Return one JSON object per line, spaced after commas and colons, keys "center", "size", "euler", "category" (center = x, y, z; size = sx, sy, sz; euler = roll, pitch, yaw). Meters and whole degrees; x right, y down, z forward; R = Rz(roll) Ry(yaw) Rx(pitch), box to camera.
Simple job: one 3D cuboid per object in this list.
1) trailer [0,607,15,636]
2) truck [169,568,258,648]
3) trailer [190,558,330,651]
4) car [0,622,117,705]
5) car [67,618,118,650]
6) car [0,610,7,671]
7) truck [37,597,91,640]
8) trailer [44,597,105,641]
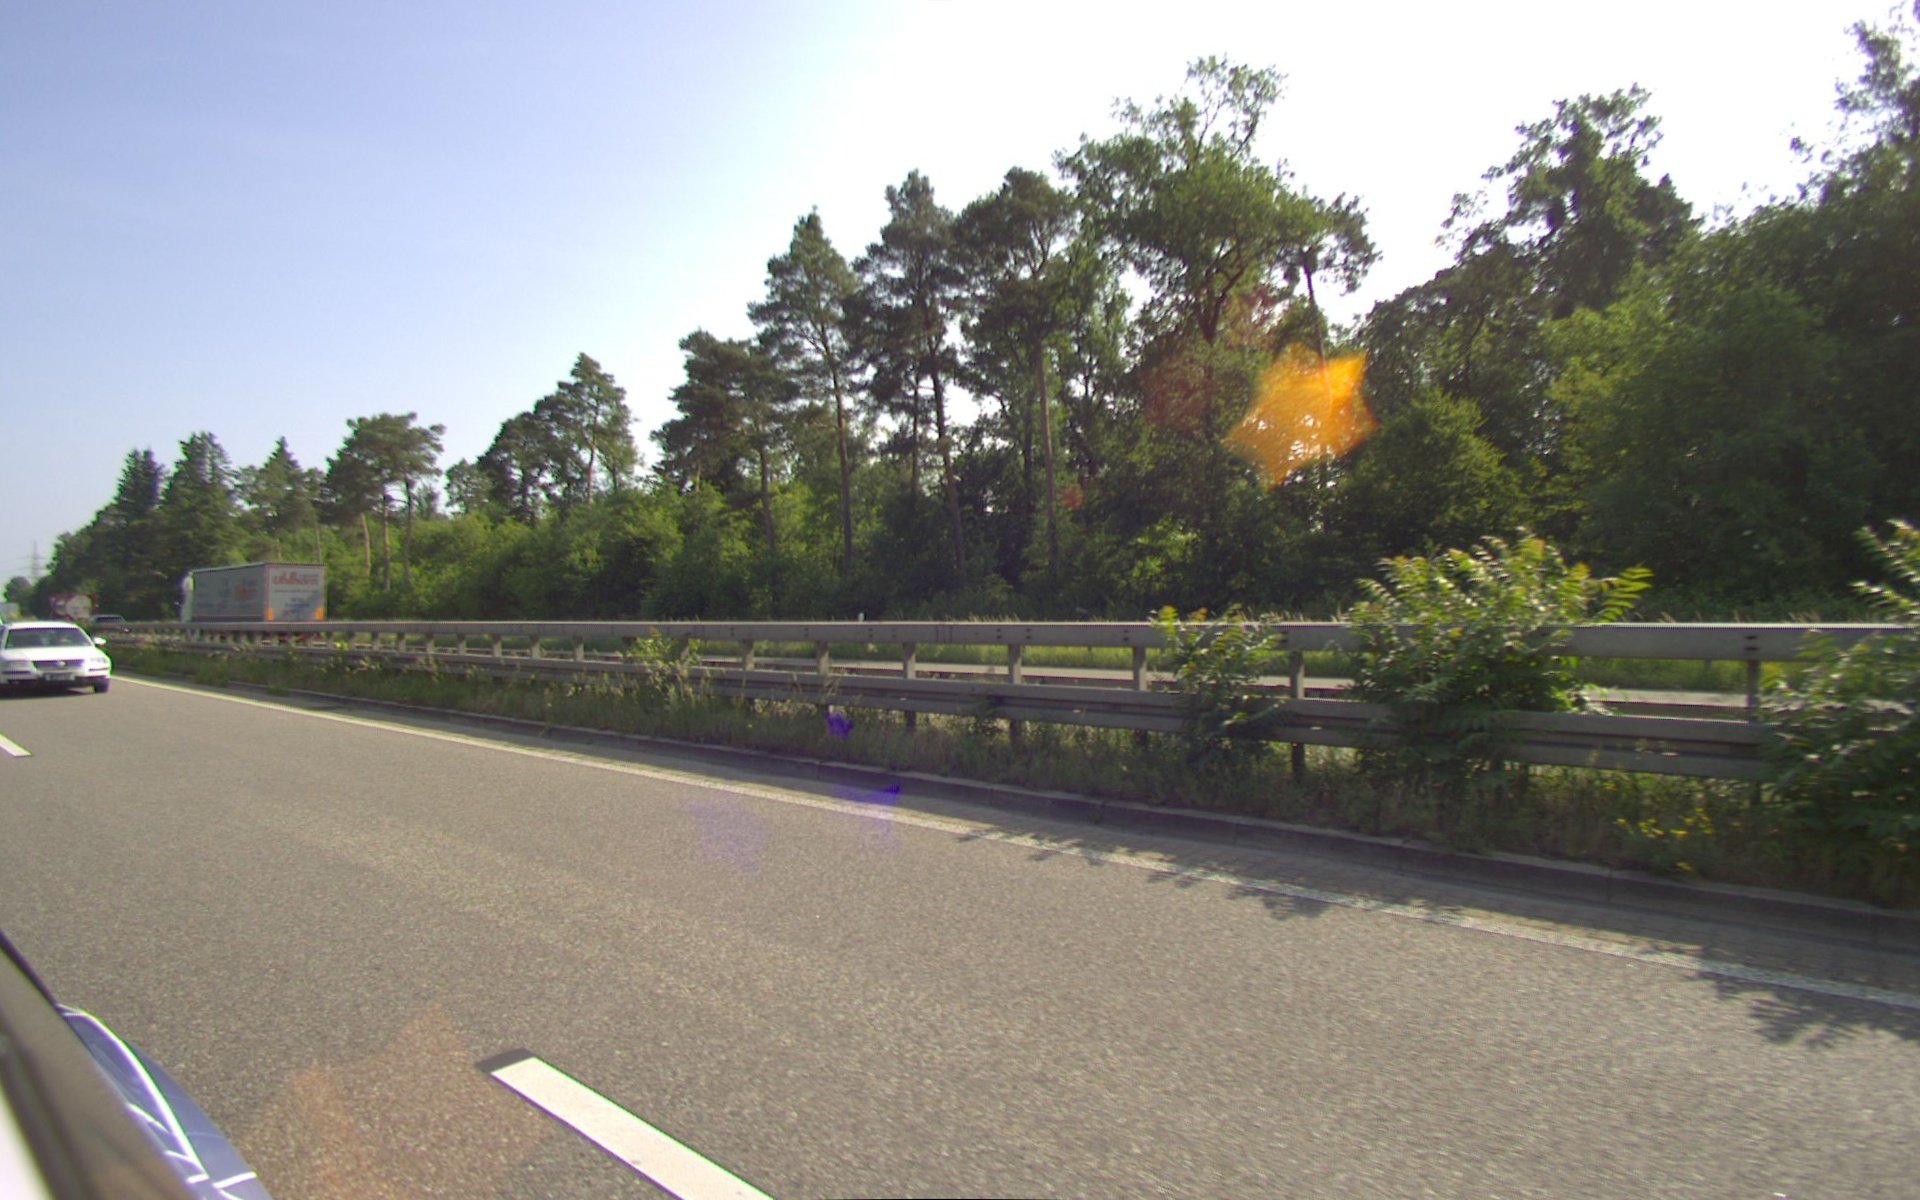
{"center": [-142.171, 3.241, 149.533], "size": [13.076, 4.232, 2.663], "euler": [-2, -2, 42], "category": "trailer"}
{"center": [-41.600, 0.492, 56.362], "size": [5.543, 4.228, 2.808], "euler": [-1, -2, 41], "category": "truck"}
{"center": [-35.633, 0.335, 51.207], "size": [12.404, 4.241, 2.803], "euler": [-1, -2, 41], "category": "trailer"}
{"center": [-19.283, 1.237, 21.052], "size": [5.258, 1.497, 1.732], "euler": [-1, -1, 39], "category": "car"}
{"center": [-48.692, 1.879, 56.777], "size": [4.167, 1.701, 1.668], "euler": [-1, -1, 42], "category": "car"}
{"center": [-33.158, 1.333, 33.491], "size": [4.704, 1.960, 1.888], "euler": [-1, -1, 41], "category": "car"}
{"center": [-89.957, 1.823, 101.592], "size": [6.228, 4.069, 3.234], "euler": [-1, 0, 40], "category": "truck"}
{"center": [-85.894, 1.766, 98.111], "size": [8.368, 4.070, 3.261], "euler": [-1, 0, 41], "category": "trailer"}
